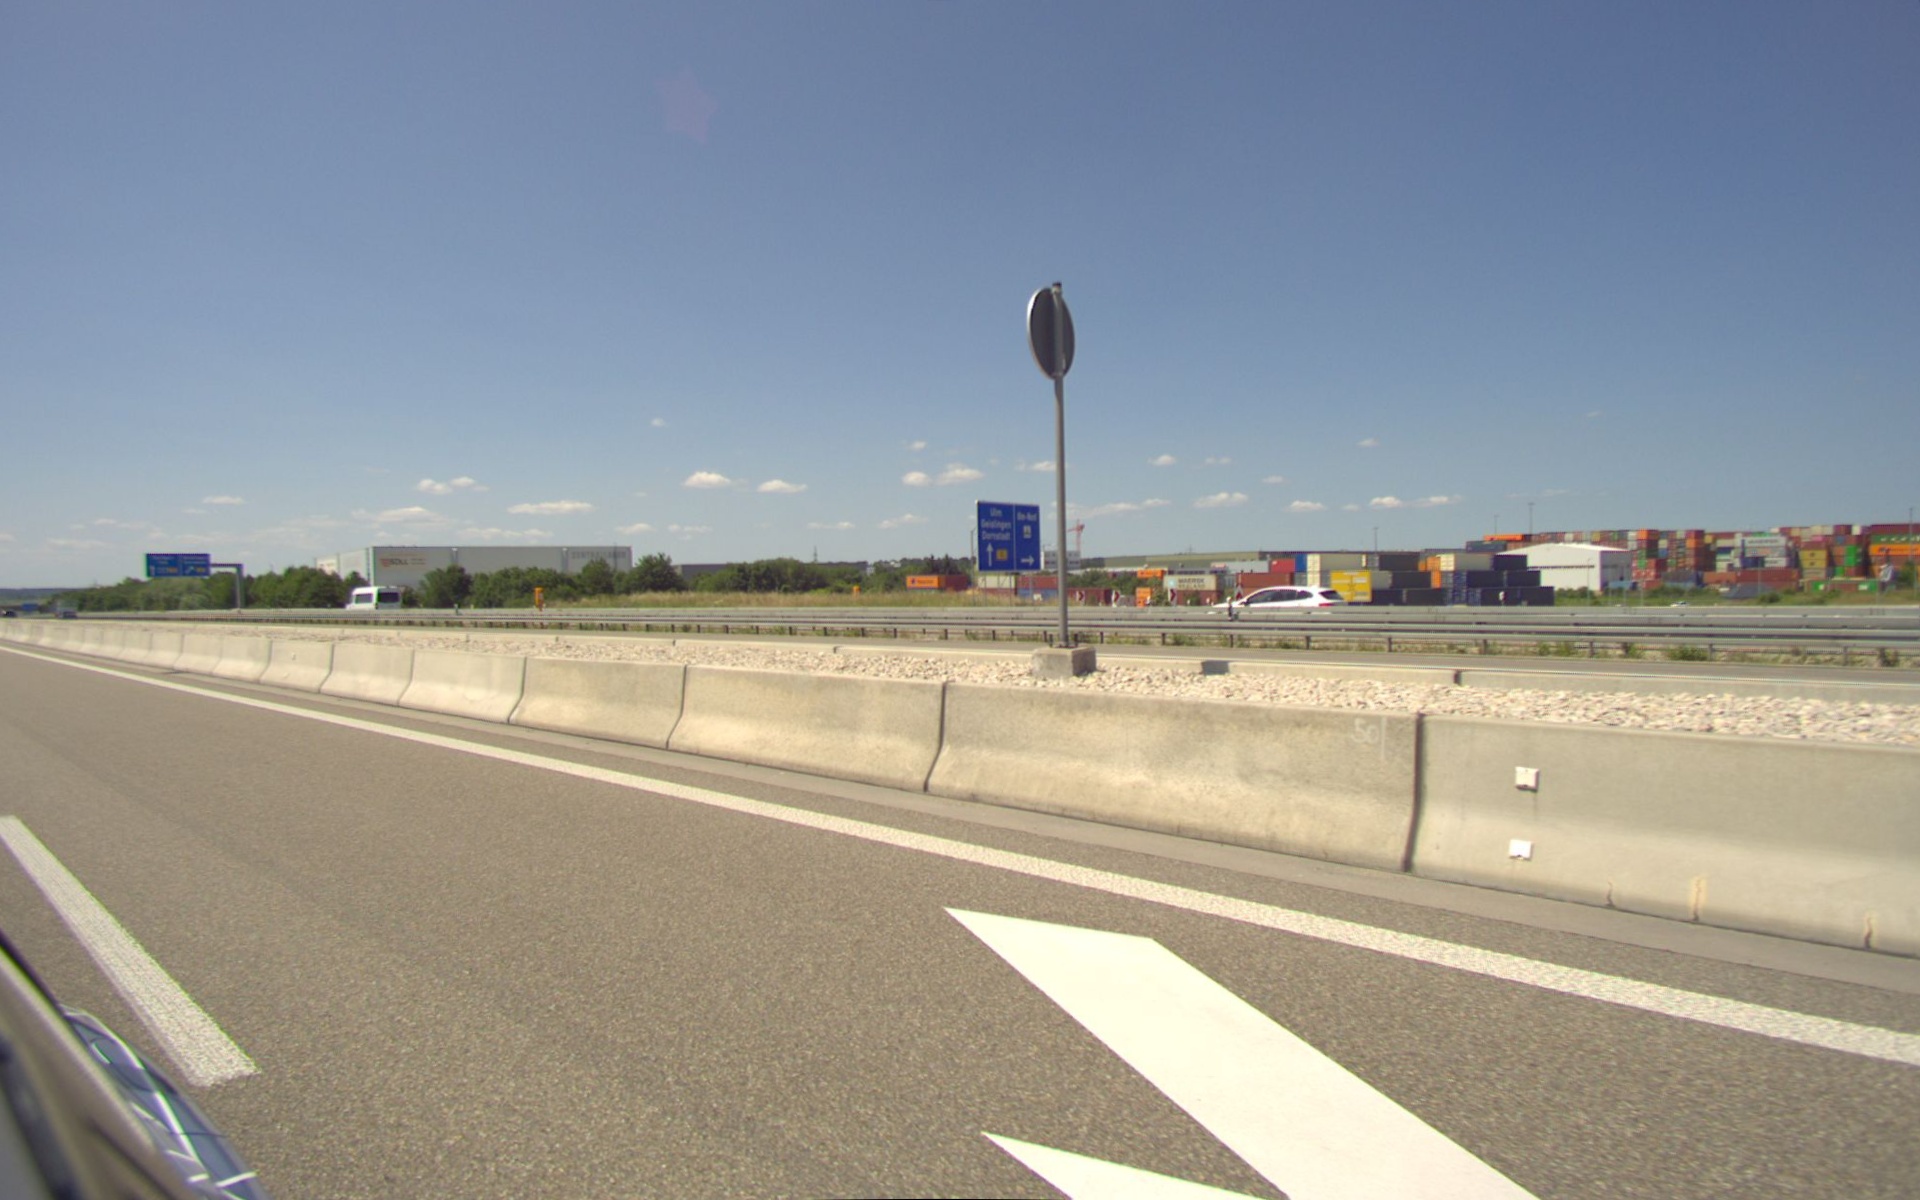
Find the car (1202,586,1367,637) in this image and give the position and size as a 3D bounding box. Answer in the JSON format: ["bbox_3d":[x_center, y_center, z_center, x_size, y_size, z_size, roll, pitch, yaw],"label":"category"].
[{"bbox_3d":[9.490,0.333,29.803,4.360,1.390,1.547,-1,0,42],"label":"car"}]

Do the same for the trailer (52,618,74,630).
[{"bbox_3d":[-114.471,3.058,129.100,3.683,1.446,1.737,-1,-1,42],"label":"trailer"}]

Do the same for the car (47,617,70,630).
[{"bbox_3d":[-117.330,3.053,131.736,3.999,1.561,1.773,-1,0,42],"label":"car"}]

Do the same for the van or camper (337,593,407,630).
[{"bbox_3d":[-47.022,0.892,80.833,7.538,2.843,2.520,-1,0,41],"label":"van or camper"}]
